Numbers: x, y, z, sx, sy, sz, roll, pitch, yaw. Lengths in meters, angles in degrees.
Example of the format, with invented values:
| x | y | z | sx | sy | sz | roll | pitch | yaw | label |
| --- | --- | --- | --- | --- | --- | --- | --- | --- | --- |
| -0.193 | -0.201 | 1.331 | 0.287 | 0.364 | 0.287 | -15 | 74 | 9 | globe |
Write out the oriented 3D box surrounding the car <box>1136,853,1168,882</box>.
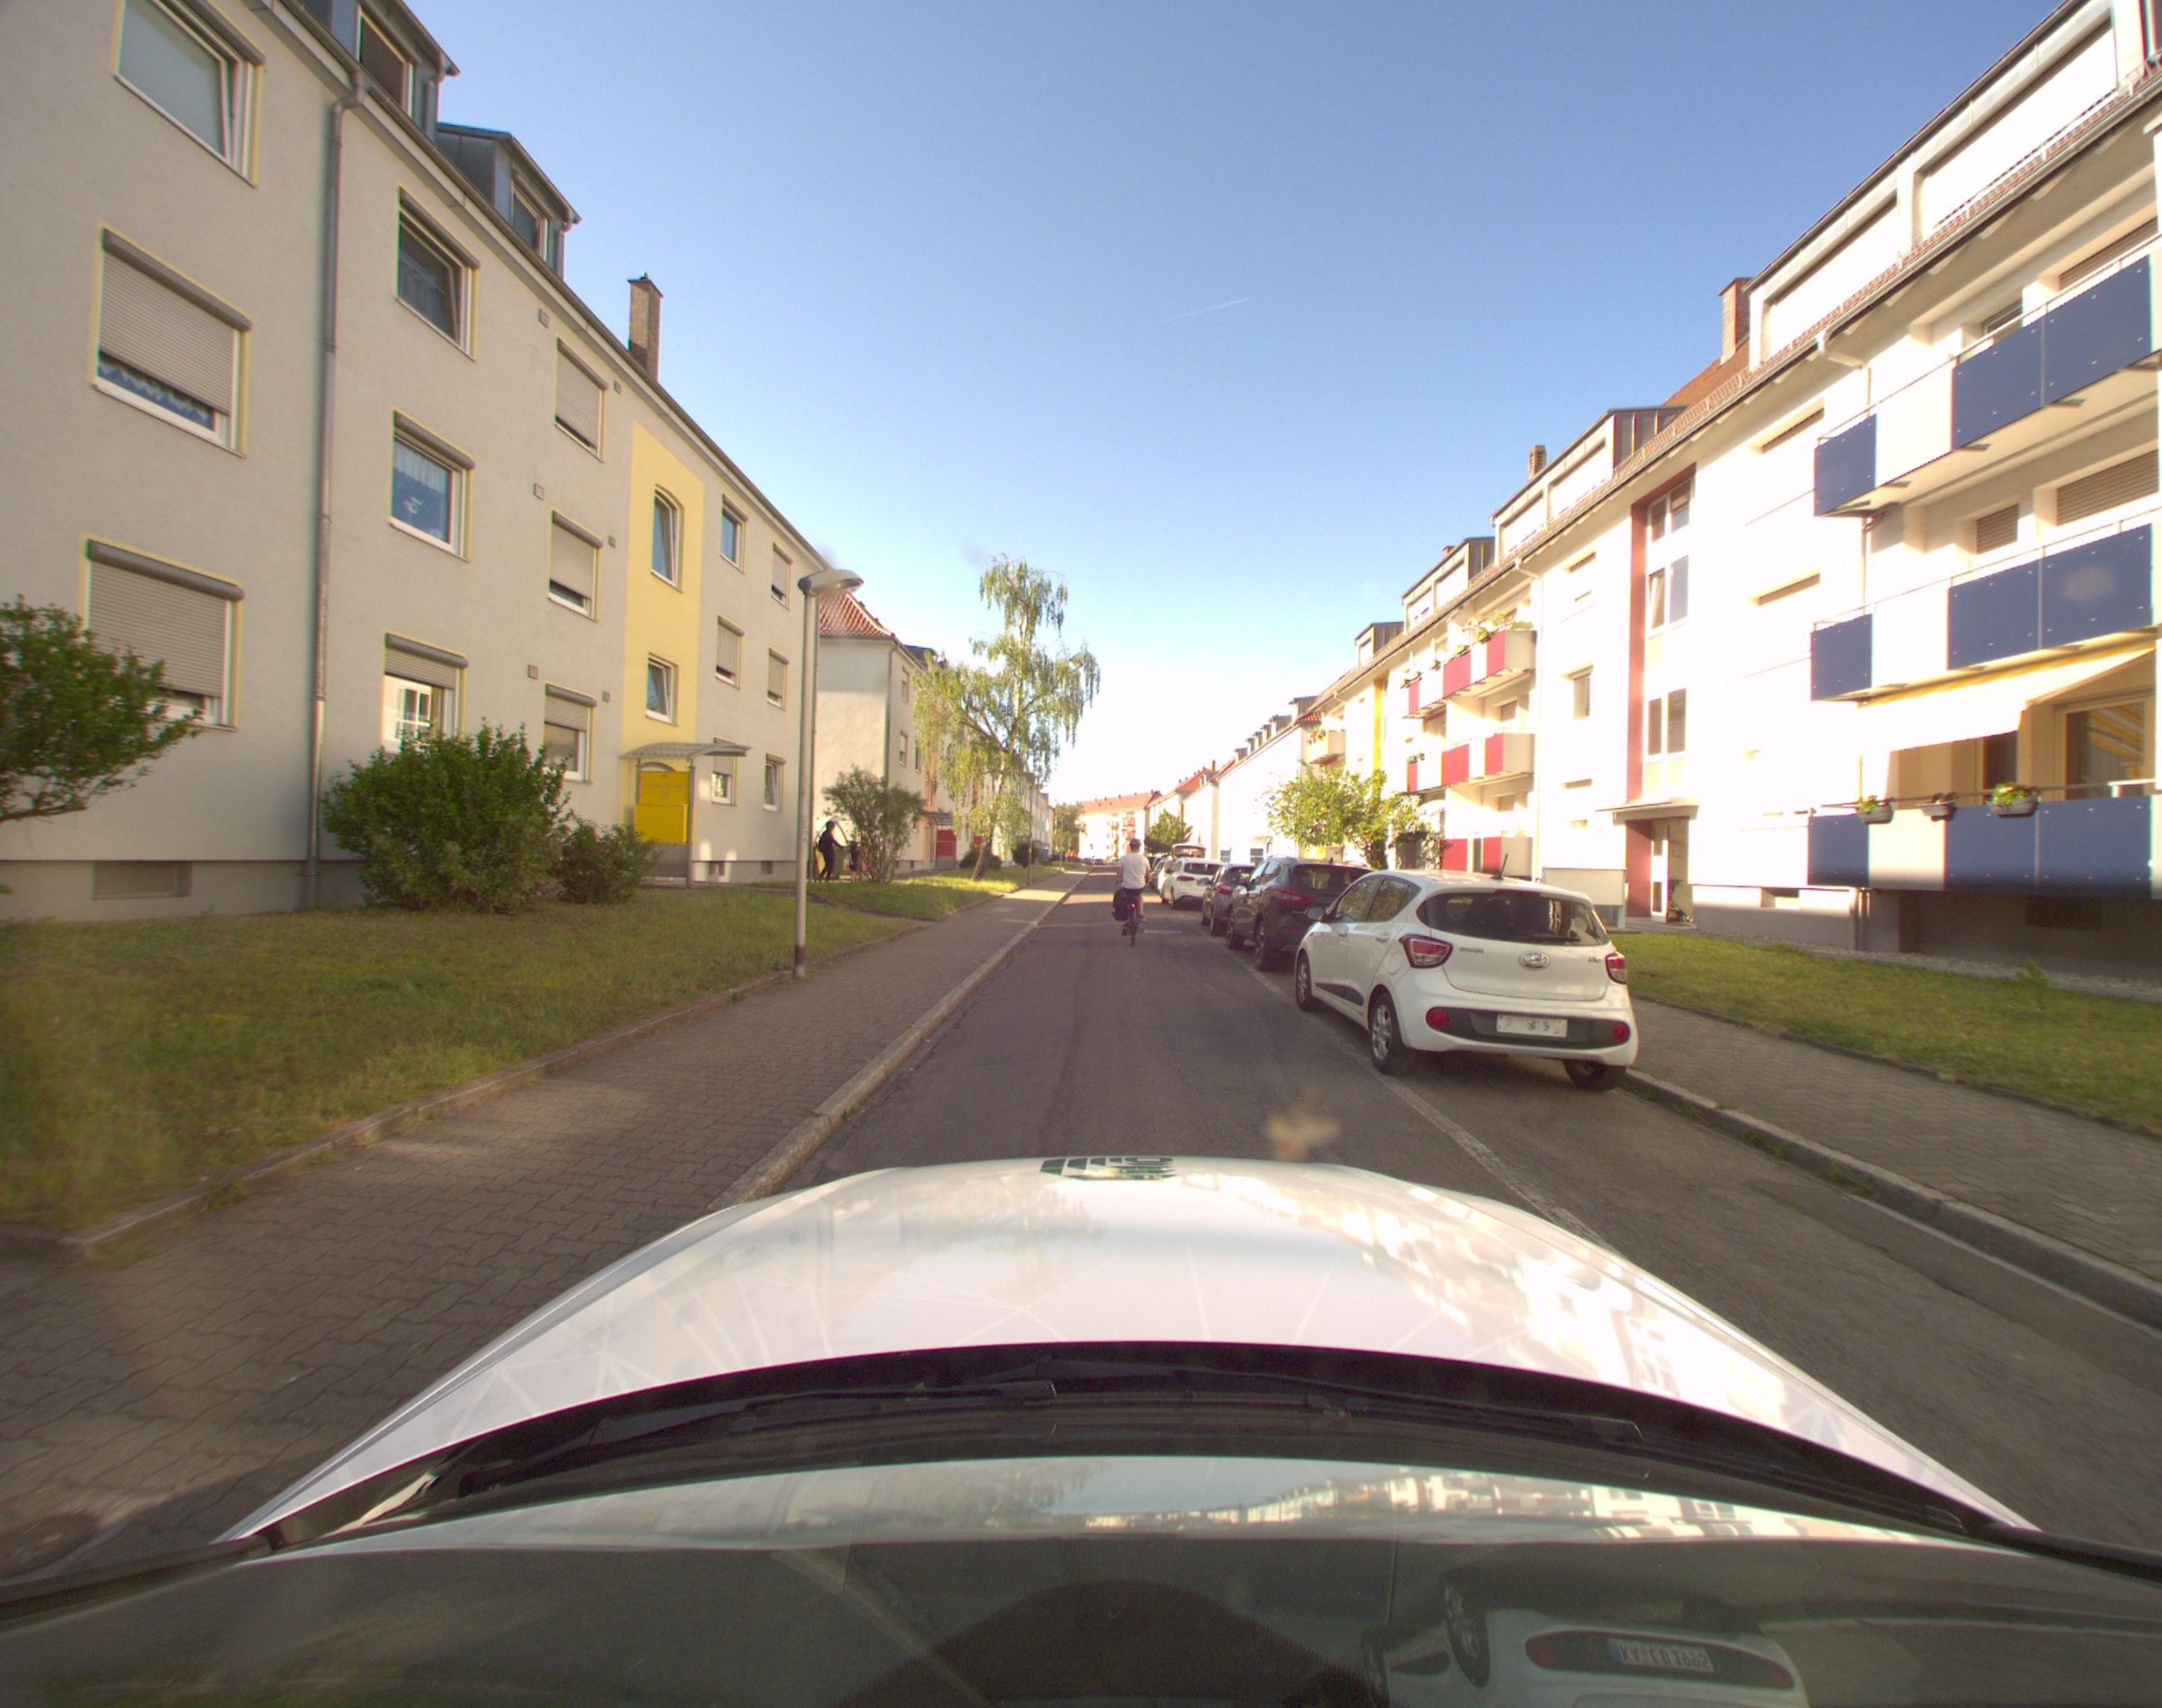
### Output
| x | y | z | sx | sy | sz | roll | pitch | yaw | label |
| --- | --- | --- | --- | --- | --- | --- | --- | --- | --- |
| 4.424 | 0.801 | 51.278 | 1.776 | 1.648 | 4.472 | 2 | 0 | 3 | car |

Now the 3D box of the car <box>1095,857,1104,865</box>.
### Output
| x | y | z | sx | sy | sz | roll | pitch | yaw | label |
| --- | --- | --- | --- | --- | --- | --- | --- | --- | --- |
| 3.320 | 1.274 | 147.592 | 1.465 | 1.335 | 3.140 | 0 | 0 | 0 | car |

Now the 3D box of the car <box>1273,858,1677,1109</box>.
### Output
| x | y | z | sx | sy | sz | roll | pitch | yaw | label |
| --- | --- | --- | --- | --- | --- | --- | --- | --- | --- |
| 3.029 | 0.855 | 7.249 | 1.707 | 1.509 | 3.854 | 4 | 0 | 1 | car |

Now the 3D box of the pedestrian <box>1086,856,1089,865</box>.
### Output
| x | y | z | sx | sy | sz | roll | pitch | yaw | label |
| --- | --- | --- | --- | --- | --- | --- | --- | --- | --- |
| 1.145 | 1.128 | 144.265 | 0.432 | 1.574 | 0.543 | 0 | -1 | 1 | pedestrian |

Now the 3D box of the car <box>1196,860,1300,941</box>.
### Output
| x | y | z | sx | sy | sz | roll | pitch | yaw | label |
| --- | --- | --- | --- | --- | --- | --- | --- | --- | --- |
| 3.479 | 0.894 | 17.601 | 1.639 | 1.449 | 4.065 | 3 | 0 | 4 | car |

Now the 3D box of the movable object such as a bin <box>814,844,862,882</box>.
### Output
| x | y | z | sx | sy | sz | roll | pitch | yaw | label |
| --- | --- | --- | --- | --- | --- | --- | --- | --- | --- |
| -9.356 | 0.340 | 31.389 | 1.382 | 1.336 | 1.228 | 3 | 0 | 1 | movable object such as a bin |

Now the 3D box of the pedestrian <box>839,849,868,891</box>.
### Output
| x | y | z | sx | sy | sz | roll | pitch | yaw | label |
| --- | --- | --- | --- | --- | --- | --- | --- | --- | --- |
| -7.092 | 0.493 | 25.404 | 0.683 | 1.317 | 0.576 | 0 | -1 | 2 | pedestrian |

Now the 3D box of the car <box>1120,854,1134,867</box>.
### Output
| x | y | z | sx | sy | sz | roll | pitch | yaw | label |
| --- | --- | --- | --- | --- | --- | --- | --- | --- | --- |
| 6.459 | 0.847 | 115.287 | 1.669 | 1.738 | 3.942 | 2 | 0 | 0 | car |

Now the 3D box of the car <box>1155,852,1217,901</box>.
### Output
| x | y | z | sx | sy | sz | roll | pitch | yaw | label |
| --- | --- | --- | --- | --- | --- | --- | --- | --- | --- |
| 3.951 | 0.797 | 31.378 | 1.985 | 1.613 | 5.000 | 3 | 0 | 4 | car |

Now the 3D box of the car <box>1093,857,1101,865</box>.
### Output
| x | y | z | sx | sy | sz | roll | pitch | yaw | label |
| --- | --- | --- | --- | --- | --- | --- | --- | --- | --- |
| 2.973 | 1.287 | 152.497 | 1.465 | 1.335 | 3.140 | 0 | 0 | 0 | car |

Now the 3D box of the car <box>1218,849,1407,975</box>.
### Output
| x | y | z | sx | sy | sz | roll | pitch | yaw | label |
| --- | --- | --- | --- | --- | --- | --- | --- | --- | --- |
| 3.259 | 0.728 | 12.362 | 1.717 | 1.578 | 4.353 | 0 | 0 | 1 | car |

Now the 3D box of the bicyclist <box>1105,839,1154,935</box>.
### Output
| x | y | z | sx | sy | sz | roll | pitch | yaw | label |
| --- | --- | --- | --- | --- | --- | --- | --- | --- | --- |
| 0.834 | 0.561 | 14.279 | 0.806 | 1.643 | 0.898 | 0 | 0 | -1 | bicyclist |

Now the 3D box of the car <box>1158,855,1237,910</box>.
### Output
| x | y | z | sx | sy | sz | roll | pitch | yaw | label |
| --- | --- | --- | --- | --- | --- | --- | --- | --- | --- |
| 3.528 | 0.827 | 25.385 | 1.766 | 1.505 | 4.480 | 2 | 0 | 0 | car |

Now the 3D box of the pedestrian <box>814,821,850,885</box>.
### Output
| x | y | z | sx | sy | sz | roll | pitch | yaw | label |
| --- | --- | --- | --- | --- | --- | --- | --- | --- | --- |
| -7.225 | -0.019 | 23.666 | 0.802 | 1.824 | 0.718 | 0 | -1 | 2 | pedestrian |

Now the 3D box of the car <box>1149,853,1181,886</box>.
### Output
| x | y | z | sx | sy | sz | roll | pitch | yaw | label |
| --- | --- | --- | --- | --- | --- | --- | --- | --- | --- |
| 4.257 | 0.772 | 41.099 | 1.472 | 1.529 | 2.945 | 3 | 0 | 6 | car |

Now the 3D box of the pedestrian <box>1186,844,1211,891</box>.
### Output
| x | y | z | sx | sy | sz | roll | pitch | yaw | label |
| --- | --- | --- | --- | --- | --- | --- | --- | --- | --- |
| 4.204 | 0.478 | 29.159 | 0.816 | 1.687 | 0.604 | 0 | 0 | 1 | pedestrian |

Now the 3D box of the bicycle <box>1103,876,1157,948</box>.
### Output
| x | y | z | sx | sy | sz | roll | pitch | yaw | label |
| --- | --- | --- | --- | --- | --- | --- | --- | --- | --- |
| 0.829 | 0.981 | 14.367 | 0.806 | 1.128 | 2.101 | 0 | 0 | -1 | bicycle |

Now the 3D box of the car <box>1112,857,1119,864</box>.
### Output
| x | y | z | sx | sy | sz | roll | pitch | yaw | label |
| --- | --- | --- | --- | --- | --- | --- | --- | --- | --- |
| 6.962 | 1.337 | 164.544 | 1.377 | 1.497 | 3.076 | 0 | 0 | 0 | car |

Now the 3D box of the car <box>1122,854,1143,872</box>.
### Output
| x | y | z | sx | sy | sz | roll | pitch | yaw | label |
| --- | --- | --- | --- | --- | --- | --- | --- | --- | --- |
| 5.059 | 0.881 | 80.641 | 1.855 | 1.668 | 4.128 | 3 | 0 | 2 | car |

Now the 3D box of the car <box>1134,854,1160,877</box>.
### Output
| x | y | z | sx | sy | sz | roll | pitch | yaw | label |
| --- | --- | --- | --- | --- | --- | --- | --- | --- | --- |
| 4.514 | 0.755 | 56.376 | 1.635 | 1.498 | 4.159 | 1 | 0 | 3 | car |

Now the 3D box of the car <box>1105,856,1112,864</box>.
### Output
| x | y | z | sx | sy | sz | roll | pitch | yaw | label |
| --- | --- | --- | --- | --- | --- | --- | --- | --- | --- |
| 5.943 | 1.293 | 177.216 | 1.465 | 1.516 | 3.076 | 0 | 0 | 0 | car |

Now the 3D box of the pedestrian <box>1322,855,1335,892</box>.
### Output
| x | y | z | sx | sy | sz | roll | pitch | yaw | label |
| --- | --- | --- | --- | --- | --- | --- | --- | --- | --- |
| 10.148 | 0.793 | 33.441 | 0.449 | 1.495 | 0.360 | 0 | -2 | 2 | pedestrian |

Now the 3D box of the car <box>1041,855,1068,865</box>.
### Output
| x | y | z | sx | sy | sz | roll | pitch | yaw | label |
| --- | --- | --- | --- | --- | --- | --- | --- | --- | --- |
| -4.239 | 0.952 | 129.516 | 4.221 | 1.638 | 1.581 | 1 | 0 | -3 | car |

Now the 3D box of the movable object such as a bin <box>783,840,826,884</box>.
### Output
| x | y | z | sx | sy | sz | roll | pitch | yaw | label |
| --- | --- | --- | --- | --- | --- | --- | --- | --- | --- |
| -9.047 | 0.261 | 26.655 | 1.080 | 1.406 | 0.813 | 2 | 0 | 2 | movable object such as a bin |

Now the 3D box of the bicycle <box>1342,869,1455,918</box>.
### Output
| x | y | z | sx | sy | sz | roll | pitch | yaw | label |
| --- | --- | --- | --- | --- | --- | --- | --- | --- | --- |
| 7.615 | 0.931 | 19.627 | 2.410 | 1.130 | 0.881 | 0 | 0 | 7 | bicycle |

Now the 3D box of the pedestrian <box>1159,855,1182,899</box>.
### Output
| x | y | z | sx | sy | sz | roll | pitch | yaw | label |
| --- | --- | --- | --- | --- | --- | --- | --- | --- | --- |
| 3.204 | 0.813 | 29.266 | 0.737 | 1.575 | 0.880 | 0 | 0 | 1 | pedestrian |

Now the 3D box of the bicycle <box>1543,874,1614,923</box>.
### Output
| x | y | z | sx | sy | sz | roll | pitch | yaw | label |
| --- | --- | --- | --- | --- | --- | --- | --- | --- | --- |
| 11.556 | 1.014 | 18.991 | 0.518 | 1.037 | 1.976 | 0 | 0 | 2 | bicycle |

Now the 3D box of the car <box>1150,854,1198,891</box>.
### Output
| x | y | z | sx | sy | sz | roll | pitch | yaw | label |
| --- | --- | --- | --- | --- | --- | --- | --- | --- | --- |
| 4.110 | 0.793 | 36.624 | 1.688 | 1.491 | 3.985 | 3 | 0 | 1 | car |

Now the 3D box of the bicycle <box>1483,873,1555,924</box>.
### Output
| x | y | z | sx | sy | sz | roll | pitch | yaw | label |
| --- | --- | --- | --- | --- | --- | --- | --- | --- | --- |
| 10.252 | 1.012 | 19.144 | 0.518 | 1.049 | 2.289 | -1 | 0 | 2 | bicycle |
